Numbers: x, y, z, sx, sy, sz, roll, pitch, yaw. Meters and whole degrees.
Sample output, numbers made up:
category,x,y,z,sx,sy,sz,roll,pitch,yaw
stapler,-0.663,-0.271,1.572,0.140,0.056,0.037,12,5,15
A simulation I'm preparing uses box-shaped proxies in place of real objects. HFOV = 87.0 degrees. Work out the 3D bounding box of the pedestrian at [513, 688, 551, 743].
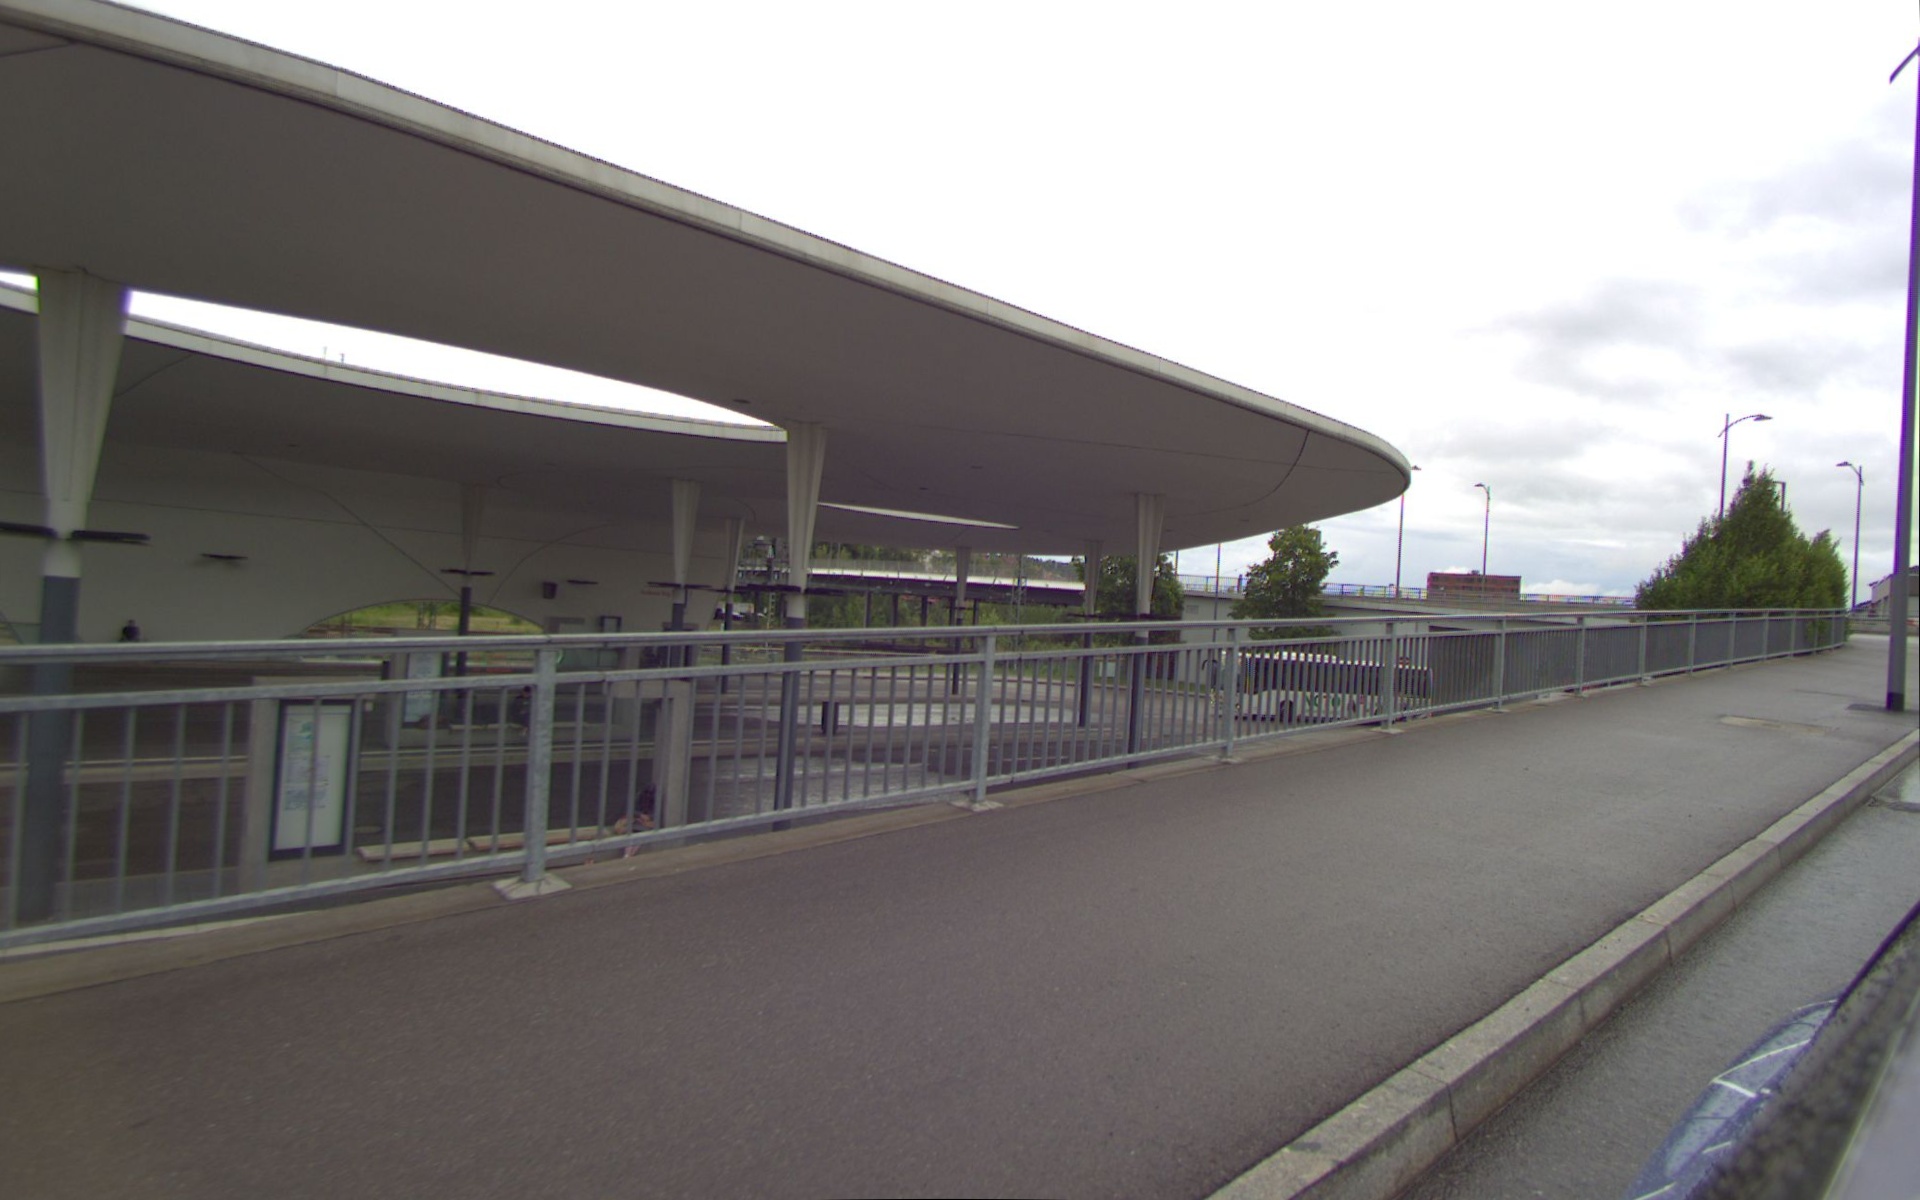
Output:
category,x,y,z,sx,sy,sz,roll,pitch,yaw
pedestrian,-9.874,2.649,23.359,0.658,1.178,0.535,0,0,-44

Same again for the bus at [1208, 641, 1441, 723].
category,x,y,z,sx,sy,sz,roll,pitch,yaw
bus,17.889,3.850,49.392,11.887,3.298,2.802,-1,0,-23

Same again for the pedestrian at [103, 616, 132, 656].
category,x,y,z,sx,sy,sz,roll,pitch,yaw
pedestrian,-28.615,1.208,34.383,0.698,1.341,0.801,0,0,-35
